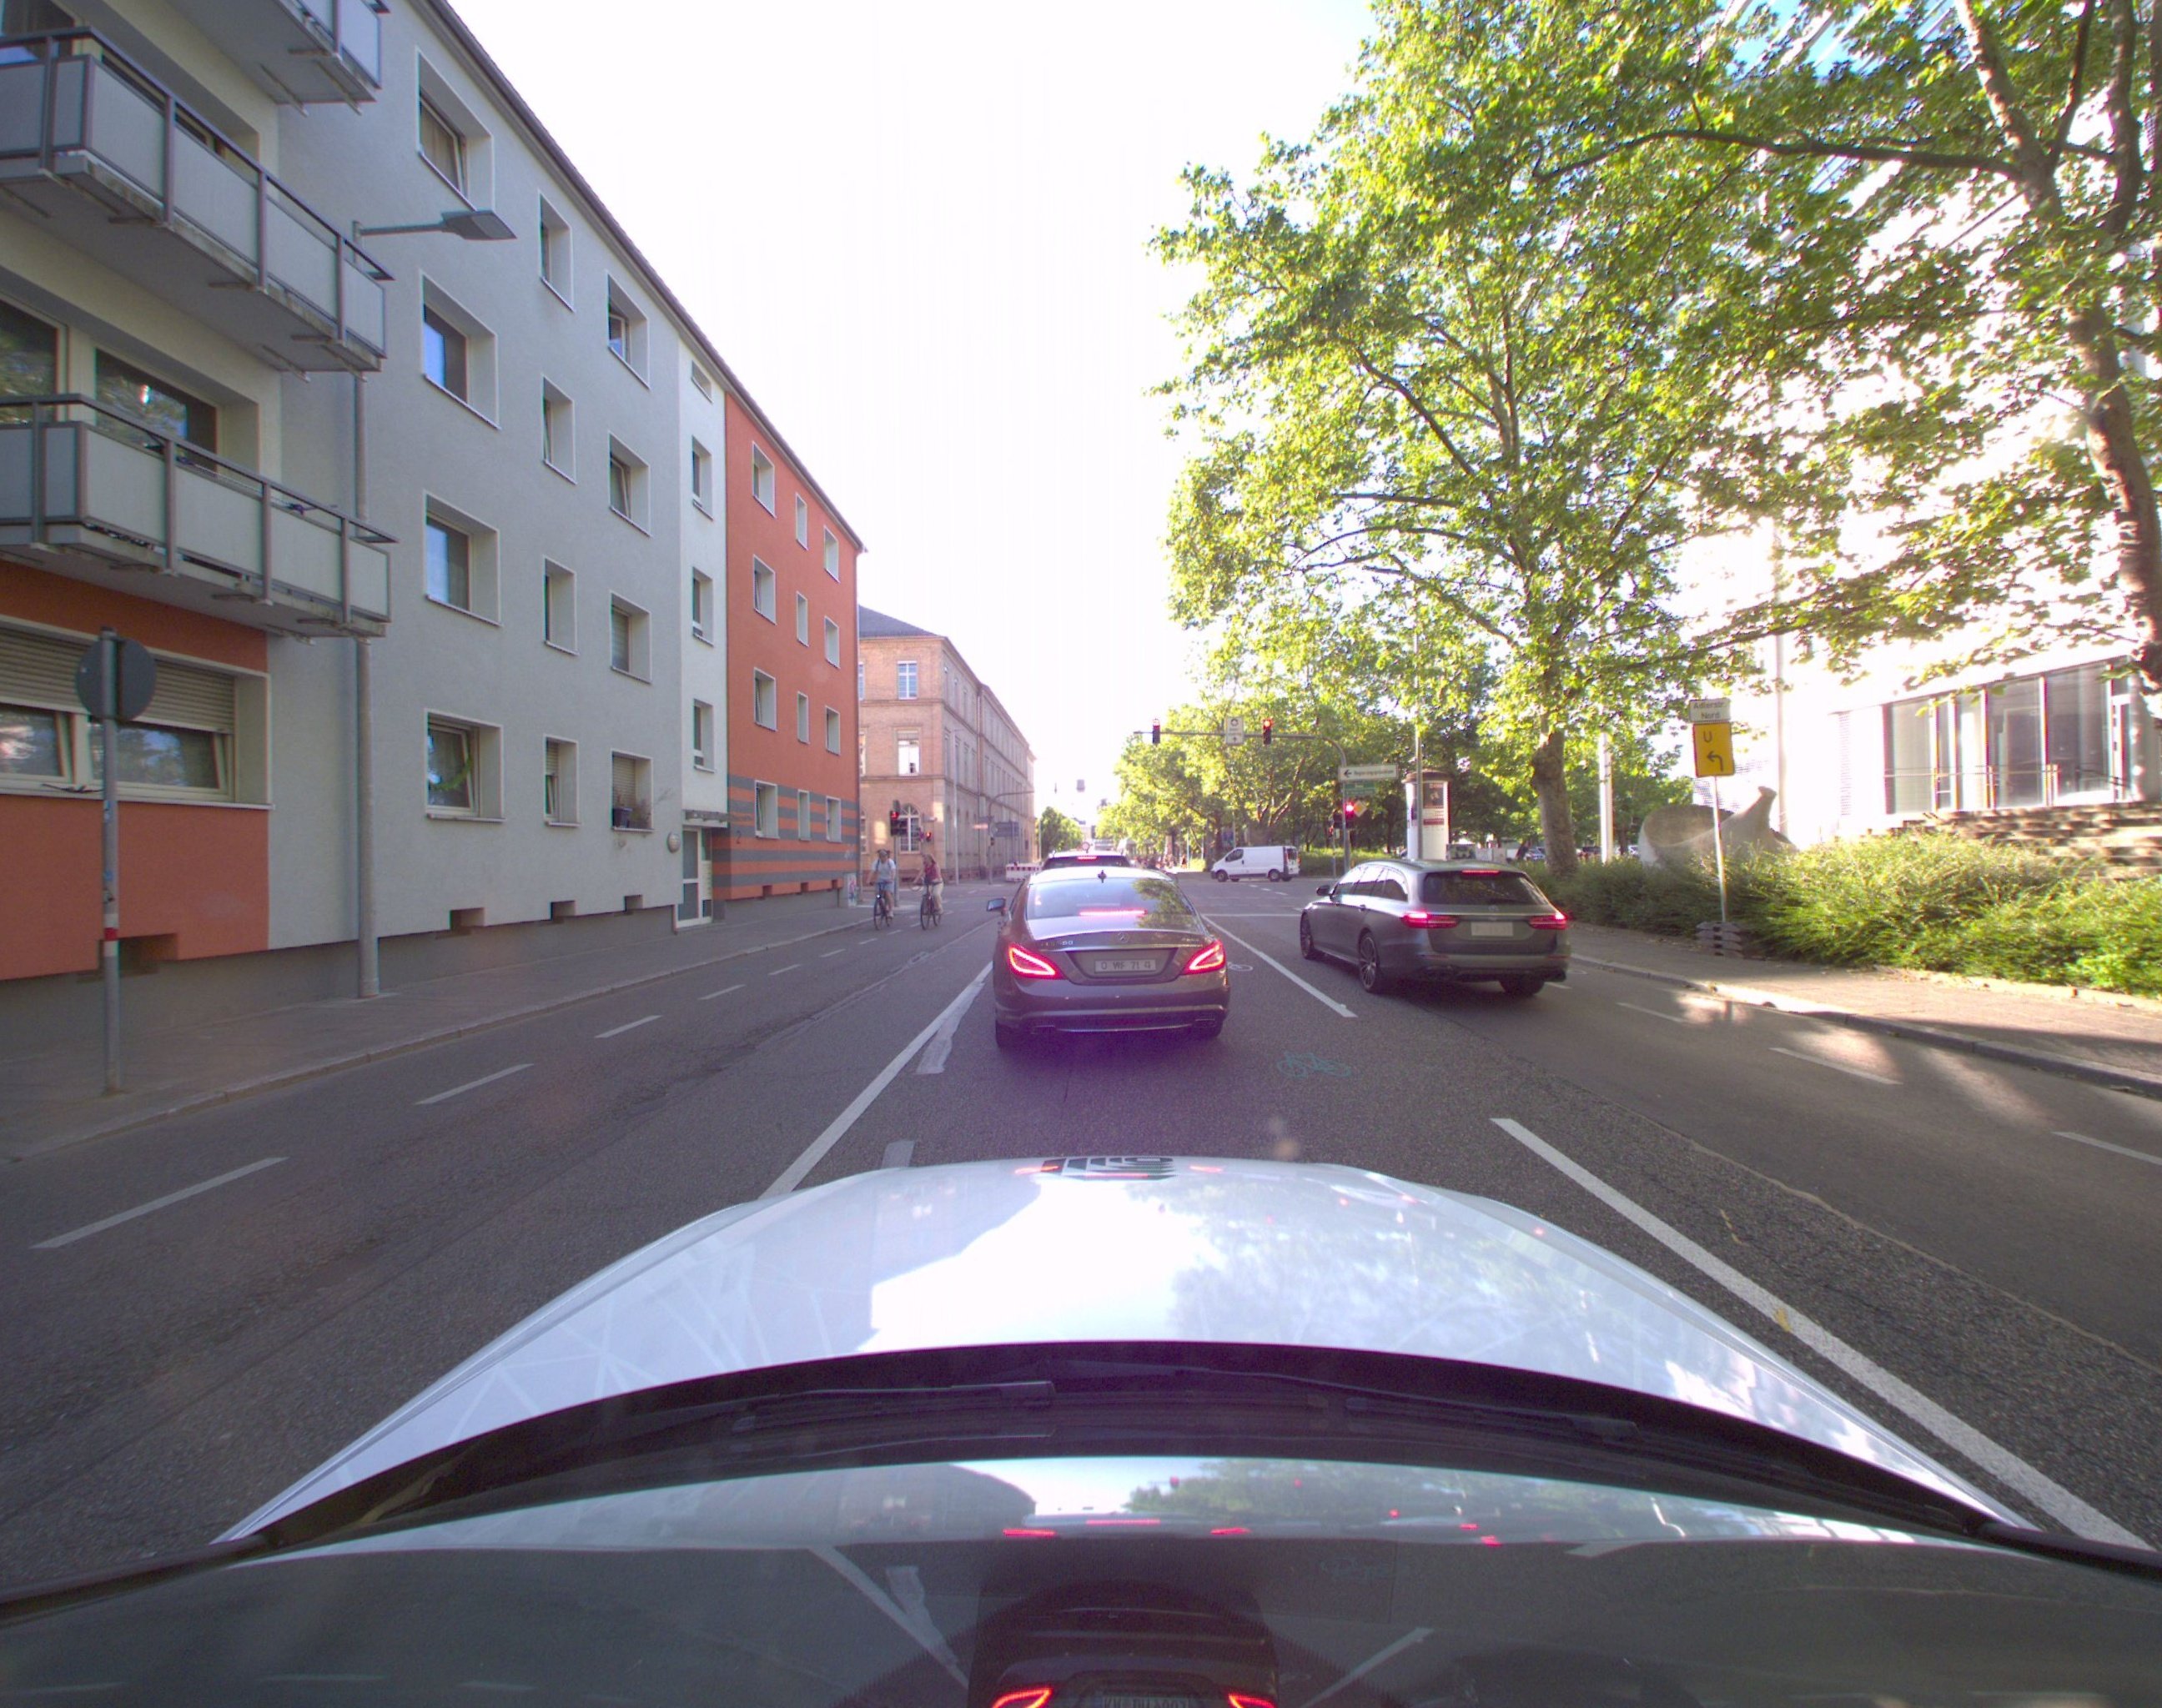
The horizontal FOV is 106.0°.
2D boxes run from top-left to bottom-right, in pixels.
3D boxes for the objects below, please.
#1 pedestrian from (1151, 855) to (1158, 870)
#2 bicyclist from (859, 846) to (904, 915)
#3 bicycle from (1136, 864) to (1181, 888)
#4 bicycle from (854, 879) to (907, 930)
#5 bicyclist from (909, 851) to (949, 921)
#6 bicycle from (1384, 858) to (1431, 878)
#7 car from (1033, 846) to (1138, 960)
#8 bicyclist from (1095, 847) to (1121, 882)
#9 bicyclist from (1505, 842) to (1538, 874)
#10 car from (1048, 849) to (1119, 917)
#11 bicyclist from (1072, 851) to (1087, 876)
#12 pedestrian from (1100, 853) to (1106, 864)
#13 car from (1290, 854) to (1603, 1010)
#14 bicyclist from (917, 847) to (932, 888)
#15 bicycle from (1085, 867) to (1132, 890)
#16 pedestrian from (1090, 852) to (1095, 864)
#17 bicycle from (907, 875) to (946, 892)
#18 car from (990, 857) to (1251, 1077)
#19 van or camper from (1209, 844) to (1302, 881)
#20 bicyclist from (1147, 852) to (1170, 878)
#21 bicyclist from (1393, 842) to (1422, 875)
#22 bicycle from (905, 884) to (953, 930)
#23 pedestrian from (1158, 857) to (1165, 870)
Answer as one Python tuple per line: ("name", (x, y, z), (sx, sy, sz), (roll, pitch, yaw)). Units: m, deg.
("pedestrian", (7.786, 0.894, 86.514), (0.646, 1.503, 0.637), (-1, 0, 1))
("bicyclist", (-4.667, 0.607, 19.122), (0.840, 1.555, 0.838), (-1, 0, -2))
("bicycle", (3.427, 0.991, 36.226), (1.972, 1.027, 0.652), (-1, 0, 3))
("bicycle", (-4.668, 1.150, 19.108), (0.861, 1.079, 1.834), (-1, 0, -3))
("bicyclist", (-3.508, 0.724, 18.890), (0.682, 1.578, 0.982), (-1, 0, 2))
("bicycle", (15.105, 0.647, 37.681), (1.884, 0.882, 0.726), (-1, 0, 5))
("car", (0.061, 0.710, 13.787), (1.513, 1.647, 3.879), (-1, 0, 0))
("bicyclist", (1.156, 0.443, 34.946), (1.113, 1.490, 0.712), (-1, 0, 1))
("bicyclist", (19.709, 0.188, 36.423), (1.098, 1.403, 0.658), (-1, 0, 5))
("car", (0.127, 0.767, 23.372), (1.813, 1.762, 4.002), (-1, 0, 2))
("bicyclist", (-0.091, 0.475, 42.297), (0.700, 1.260, 0.458), (-1, 0, 6))
("pedestrian", (3.336, 0.672, 123.701), (0.799, 1.576, 0.845), (-1, 0, 1))
("car", (4.073, 0.741, 10.080), (1.906, 1.464, 4.671), (0, 0, 2))
("bicyclist", (-7.926, 0.680, 41.297), (0.651, 2.013, 0.439), (-1, 0, -6))
("bicycle", (1.184, 1.039, 34.932), (1.979, 0.903, 0.734), (-1, 0, 1))
("pedestrian", (1.840, 0.607, 130.158), (0.718, 1.902, 0.704), (-1, 0, 1))
("bicycle", (-7.846, 1.495, 41.296), (1.889, 0.837, 0.457), (-1, 0, -6))
("car", (0.093, 0.776, 7.786), (1.801, 1.456, 4.342), (-1, 0, -5))
("van or camper", (9.599, 0.476, 44.845), (4.534, 1.941, 2.013), (-1, 0, 33))
("bicyclist", (3.430, 0.495, 36.211), (0.987, 1.154, 0.621), (-1, 0, 4))
("bicyclist", (15.106, 0.208, 37.683), (1.069, 1.519, 0.718), (-1, 0, 6))
("bicycle", (-3.497, 1.196, 18.887), (0.691, 0.929, 1.864), (-1, 0, 2))
("pedestrian", (8.504, 1.012, 86.168), (0.646, 1.433, 0.659), (-1, 0, 1))
